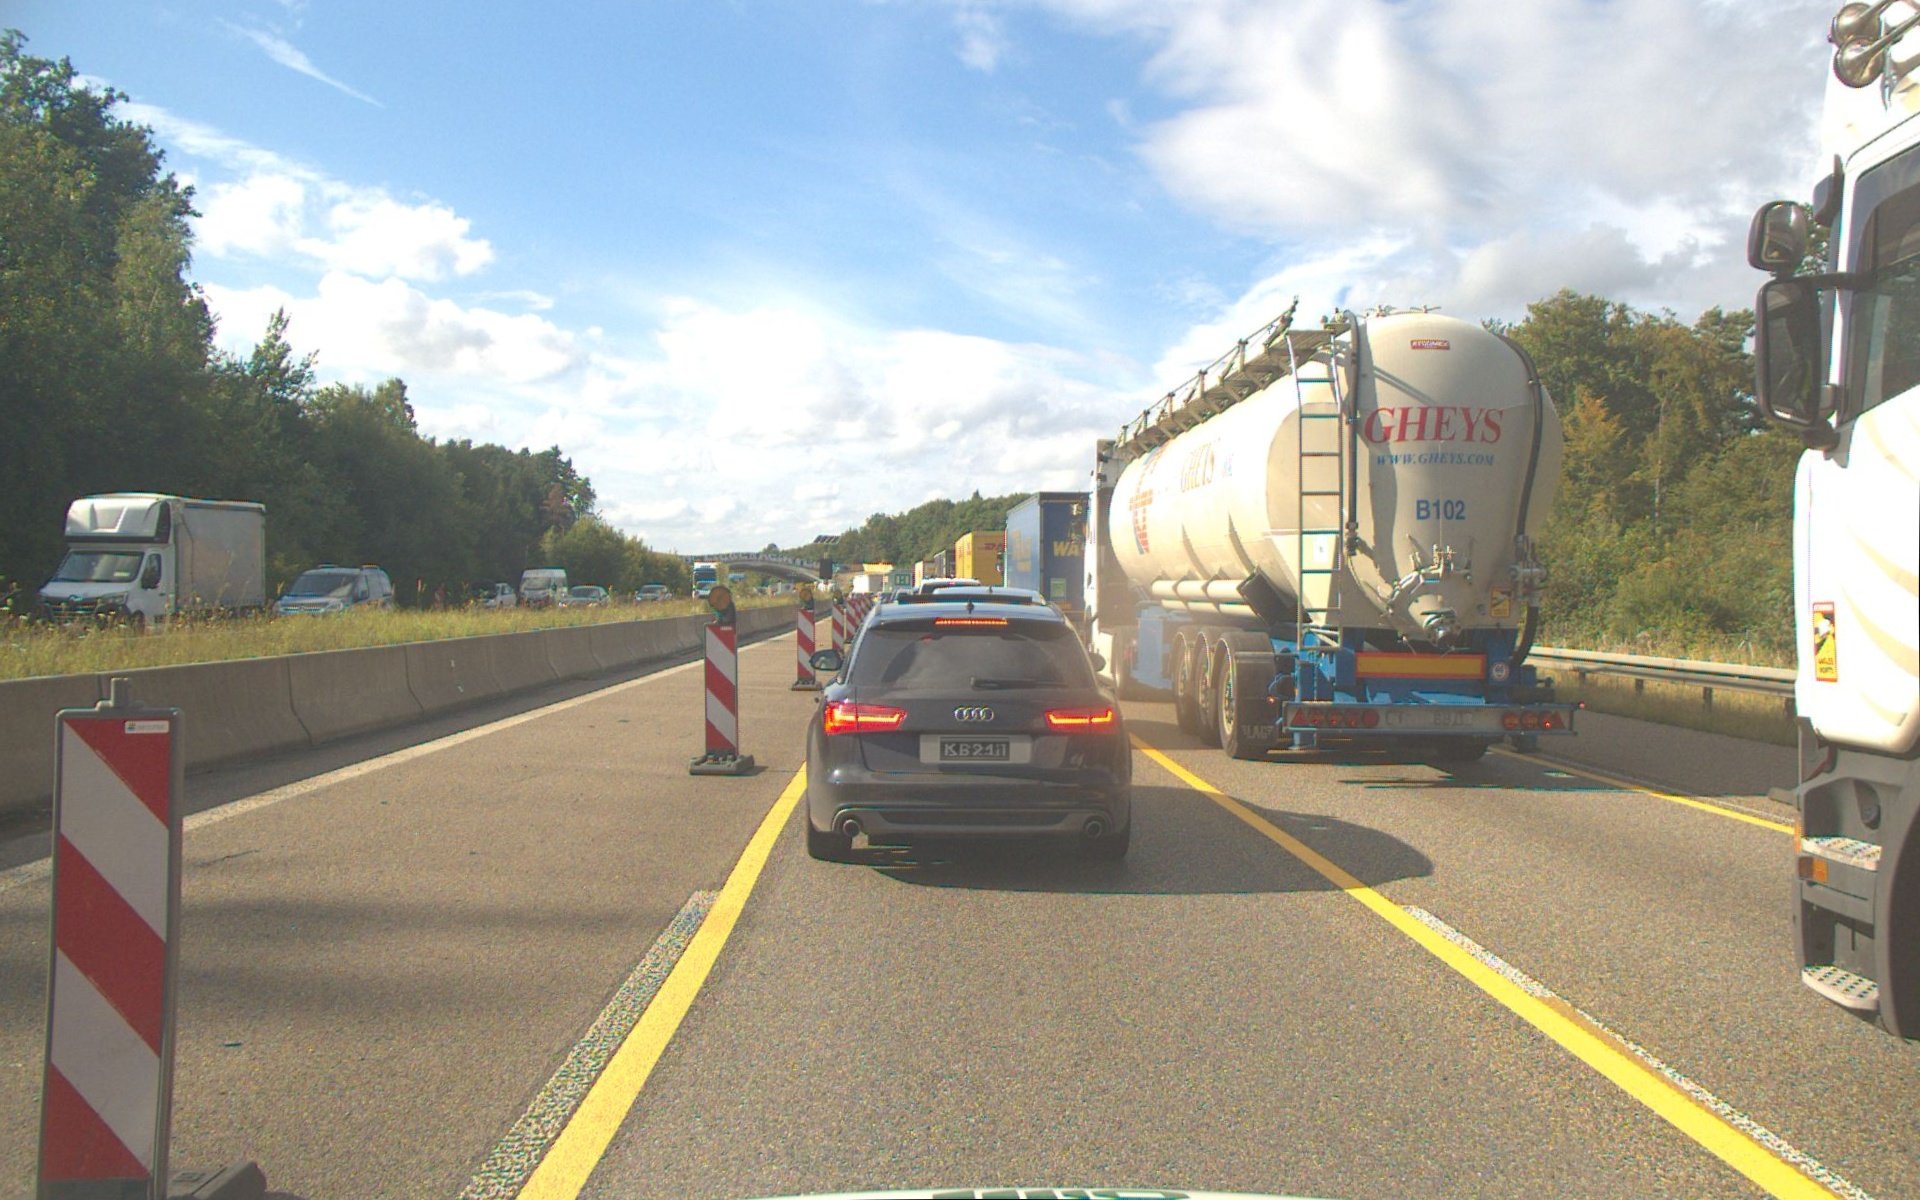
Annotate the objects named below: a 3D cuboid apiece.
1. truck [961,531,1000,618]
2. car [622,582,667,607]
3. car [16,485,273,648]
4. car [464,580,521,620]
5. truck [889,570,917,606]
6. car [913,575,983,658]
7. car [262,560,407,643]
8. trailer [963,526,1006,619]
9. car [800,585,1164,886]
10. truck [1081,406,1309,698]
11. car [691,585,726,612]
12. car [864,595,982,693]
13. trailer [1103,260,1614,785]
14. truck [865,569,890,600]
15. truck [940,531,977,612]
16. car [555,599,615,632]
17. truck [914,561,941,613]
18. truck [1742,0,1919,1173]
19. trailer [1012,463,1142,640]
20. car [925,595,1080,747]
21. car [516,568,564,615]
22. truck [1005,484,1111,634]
[{"bbox_3d":[0.944,-1.166,77.957,1.577,3.965,4.070,1,0,-2],"label":"truck"},{"bbox_3d":[-18.851,-0.304,98.937,1.918,1.386,4.287,1,0,-1],"label":"car"},{"bbox_3d":[-18.902,-0.693,38.930,2.436,3.429,7.450,1,0,-1],"label":"car"},{"bbox_3d":[-25.156,0.010,89.197,1.953,2.049,3.999,1,0,-1],"label":"car"},{"bbox_3d":[-7.057,-1.443,203.501,3.238,4.248,9.696,1,0,-3],"label":"truck"},{"bbox_3d":[-0.299,0.380,39.414,1.549,1.869,3.111,1,0,-1],"label":"car"},{"bbox_3d":[-14.872,0.034,39.548,1.905,1.844,4.118,1,0,-1],"label":"car"},{"bbox_3d":[1.049,-1.170,74.354,1.584,3.987,6.486,1,0,-2],"label":"trailer"},{"bbox_3d":[0.082,0.686,10.274,1.811,1.489,3.999,1,0,-1],"label":"car"},{"bbox_3d":[3.510,-0.656,26.047,2.605,4.041,5.777,1,0,-1],"label":"truck"},{"bbox_3d":[-19.221,-0.109,126.481,1.953,2.049,4.830,1,0,-1],"label":"car"},{"bbox_3d":[-0.579,0.656,26.327,1.716,1.421,3.607,1,0,-1],"label":"car"},{"bbox_3d":[3.635,-0.614,19.113,2.590,4.012,12.594,1,0,-1],"label":"trailer"},{"bbox_3d":[-11.707,-2.187,234.470,3.239,4.247,9.694,1,0,-4],"label":"truck"},{"bbox_3d":[-0.159,-1.802,108.175,1.953,5.000,9.558,1,0,-2],"label":"truck"},{"bbox_3d":[-16.860,0.705,74.457,1.743,1.411,4.309,1,0,-1],"label":"car"},{"bbox_3d":[-2.791,-1.068,141.626,2.094,4.332,7.069,1,0,-1],"label":"truck"},{"bbox_3d":[3.965,-0.445,2.589,2.614,4.029,5.709,1,0,-2],"label":"truck"},{"bbox_3d":[3.158,-1.218,47.630,2.748,4.490,10.430,1,0,-1],"label":"trailer"},{"bbox_3d":[0.392,0.705,17.849,1.493,1.464,3.284,1,0,-1],"label":"car"},{"bbox_3d":[-25.128,-0.480,99.060,2.208,2.689,5.010,1,0,-8],"label":"car"},{"bbox_3d":[3.054,-1.222,53.666,2.749,4.446,7.790,1,0,-1],"label":"truck"}]
